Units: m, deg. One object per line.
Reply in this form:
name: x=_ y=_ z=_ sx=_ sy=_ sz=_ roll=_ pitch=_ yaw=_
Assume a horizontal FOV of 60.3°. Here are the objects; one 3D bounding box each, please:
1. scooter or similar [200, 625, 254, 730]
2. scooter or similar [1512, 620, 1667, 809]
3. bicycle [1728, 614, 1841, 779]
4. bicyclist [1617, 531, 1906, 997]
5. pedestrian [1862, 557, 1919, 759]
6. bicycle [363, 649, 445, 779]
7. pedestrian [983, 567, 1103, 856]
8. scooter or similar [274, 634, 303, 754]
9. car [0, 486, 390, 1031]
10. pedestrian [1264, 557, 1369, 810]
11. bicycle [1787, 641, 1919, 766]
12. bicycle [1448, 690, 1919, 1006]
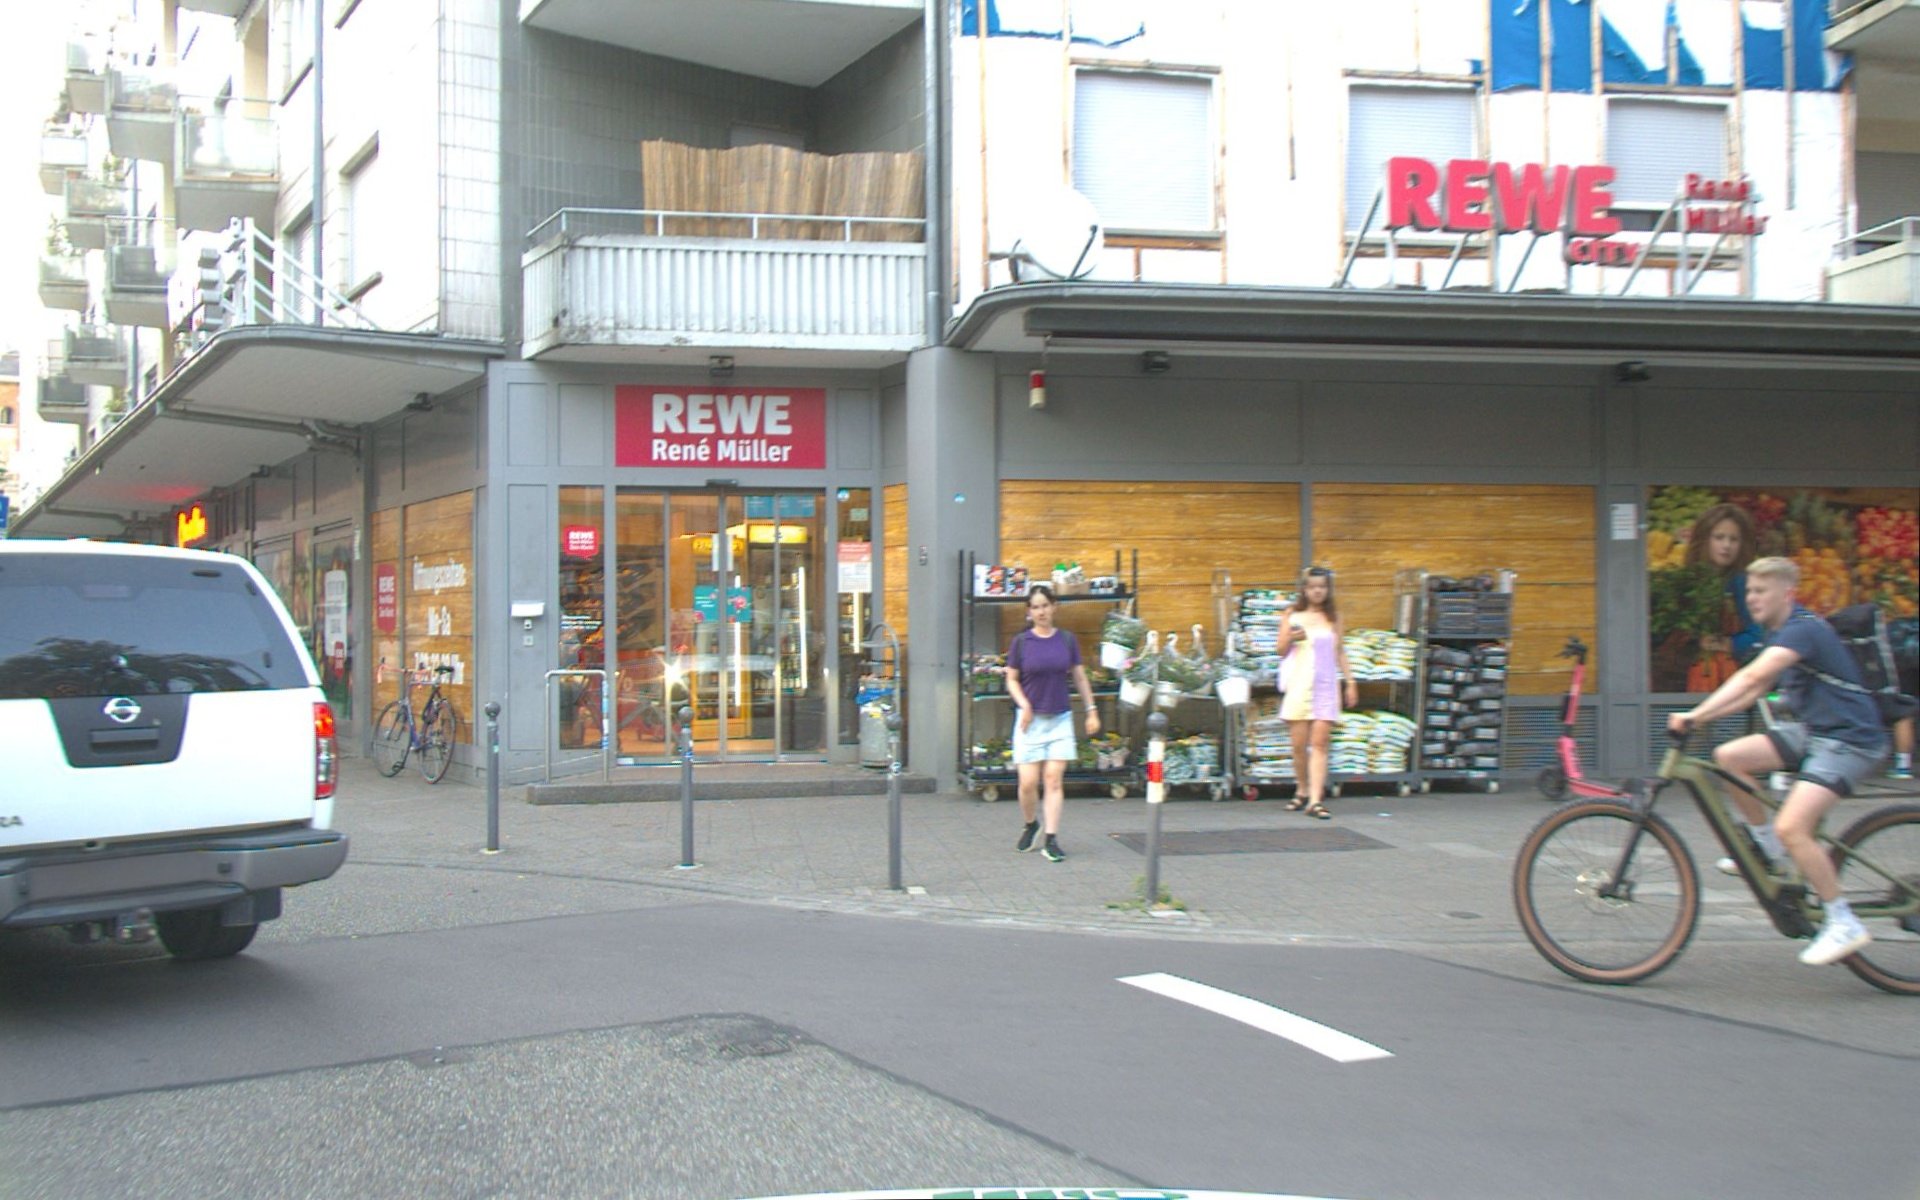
scooter or similar: x=-9.535 y=0.995 z=21.483 sx=0.435 sy=1.313 sz=1.650 roll=2 pitch=-2 yaw=-30
scooter or similar: x=4.606 y=0.809 z=12.170 sx=0.316 sy=1.289 sz=1.282 roll=1 pitch=0 yaw=-18
bicycle: x=6.551 y=0.747 z=13.212 sx=0.340 sy=1.224 sz=1.810 roll=0 pitch=-2 yaw=12
bicyclist: x=3.178 y=0.608 z=6.657 sx=0.974 sy=1.718 sz=0.791 roll=0 pitch=-1 yaw=21
pedestrian: x=8.006 y=0.479 z=13.689 sx=0.651 sy=1.629 sz=0.717 roll=0 pitch=-2 yaw=-3
bicycle: x=-5.015 y=1.011 z=14.901 sx=0.950 sy=1.132 sz=0.288 roll=-2 pitch=-3 yaw=45
pedestrian: x=0.499 y=0.662 z=10.054 sx=0.696 sy=1.681 sz=0.718 roll=0 pitch=-2 yaw=2
scooter or similar: x=-7.406 y=1.018 z=18.232 sx=0.216 sy=1.259 sz=0.958 roll=1 pitch=0 yaw=-25
car: x=-4.766 y=0.602 z=7.614 sx=4.911 sy=1.842 sz=1.933 roll=-2 pitch=-2 yaw=42
pedestrian: x=2.549 y=0.587 z=11.878 sx=0.650 sy=1.756 sz=0.723 roll=0 pitch=-2 yaw=5
bicycle: x=8.034 y=0.880 z=14.145 sx=1.841 sy=1.045 sz=0.377 roll=1 pitch=-2 yaw=-10
bicycle: x=3.157 y=0.948 z=6.657 sx=2.231 sy=1.092 sz=0.791 roll=0 pitch=0 yaw=21
